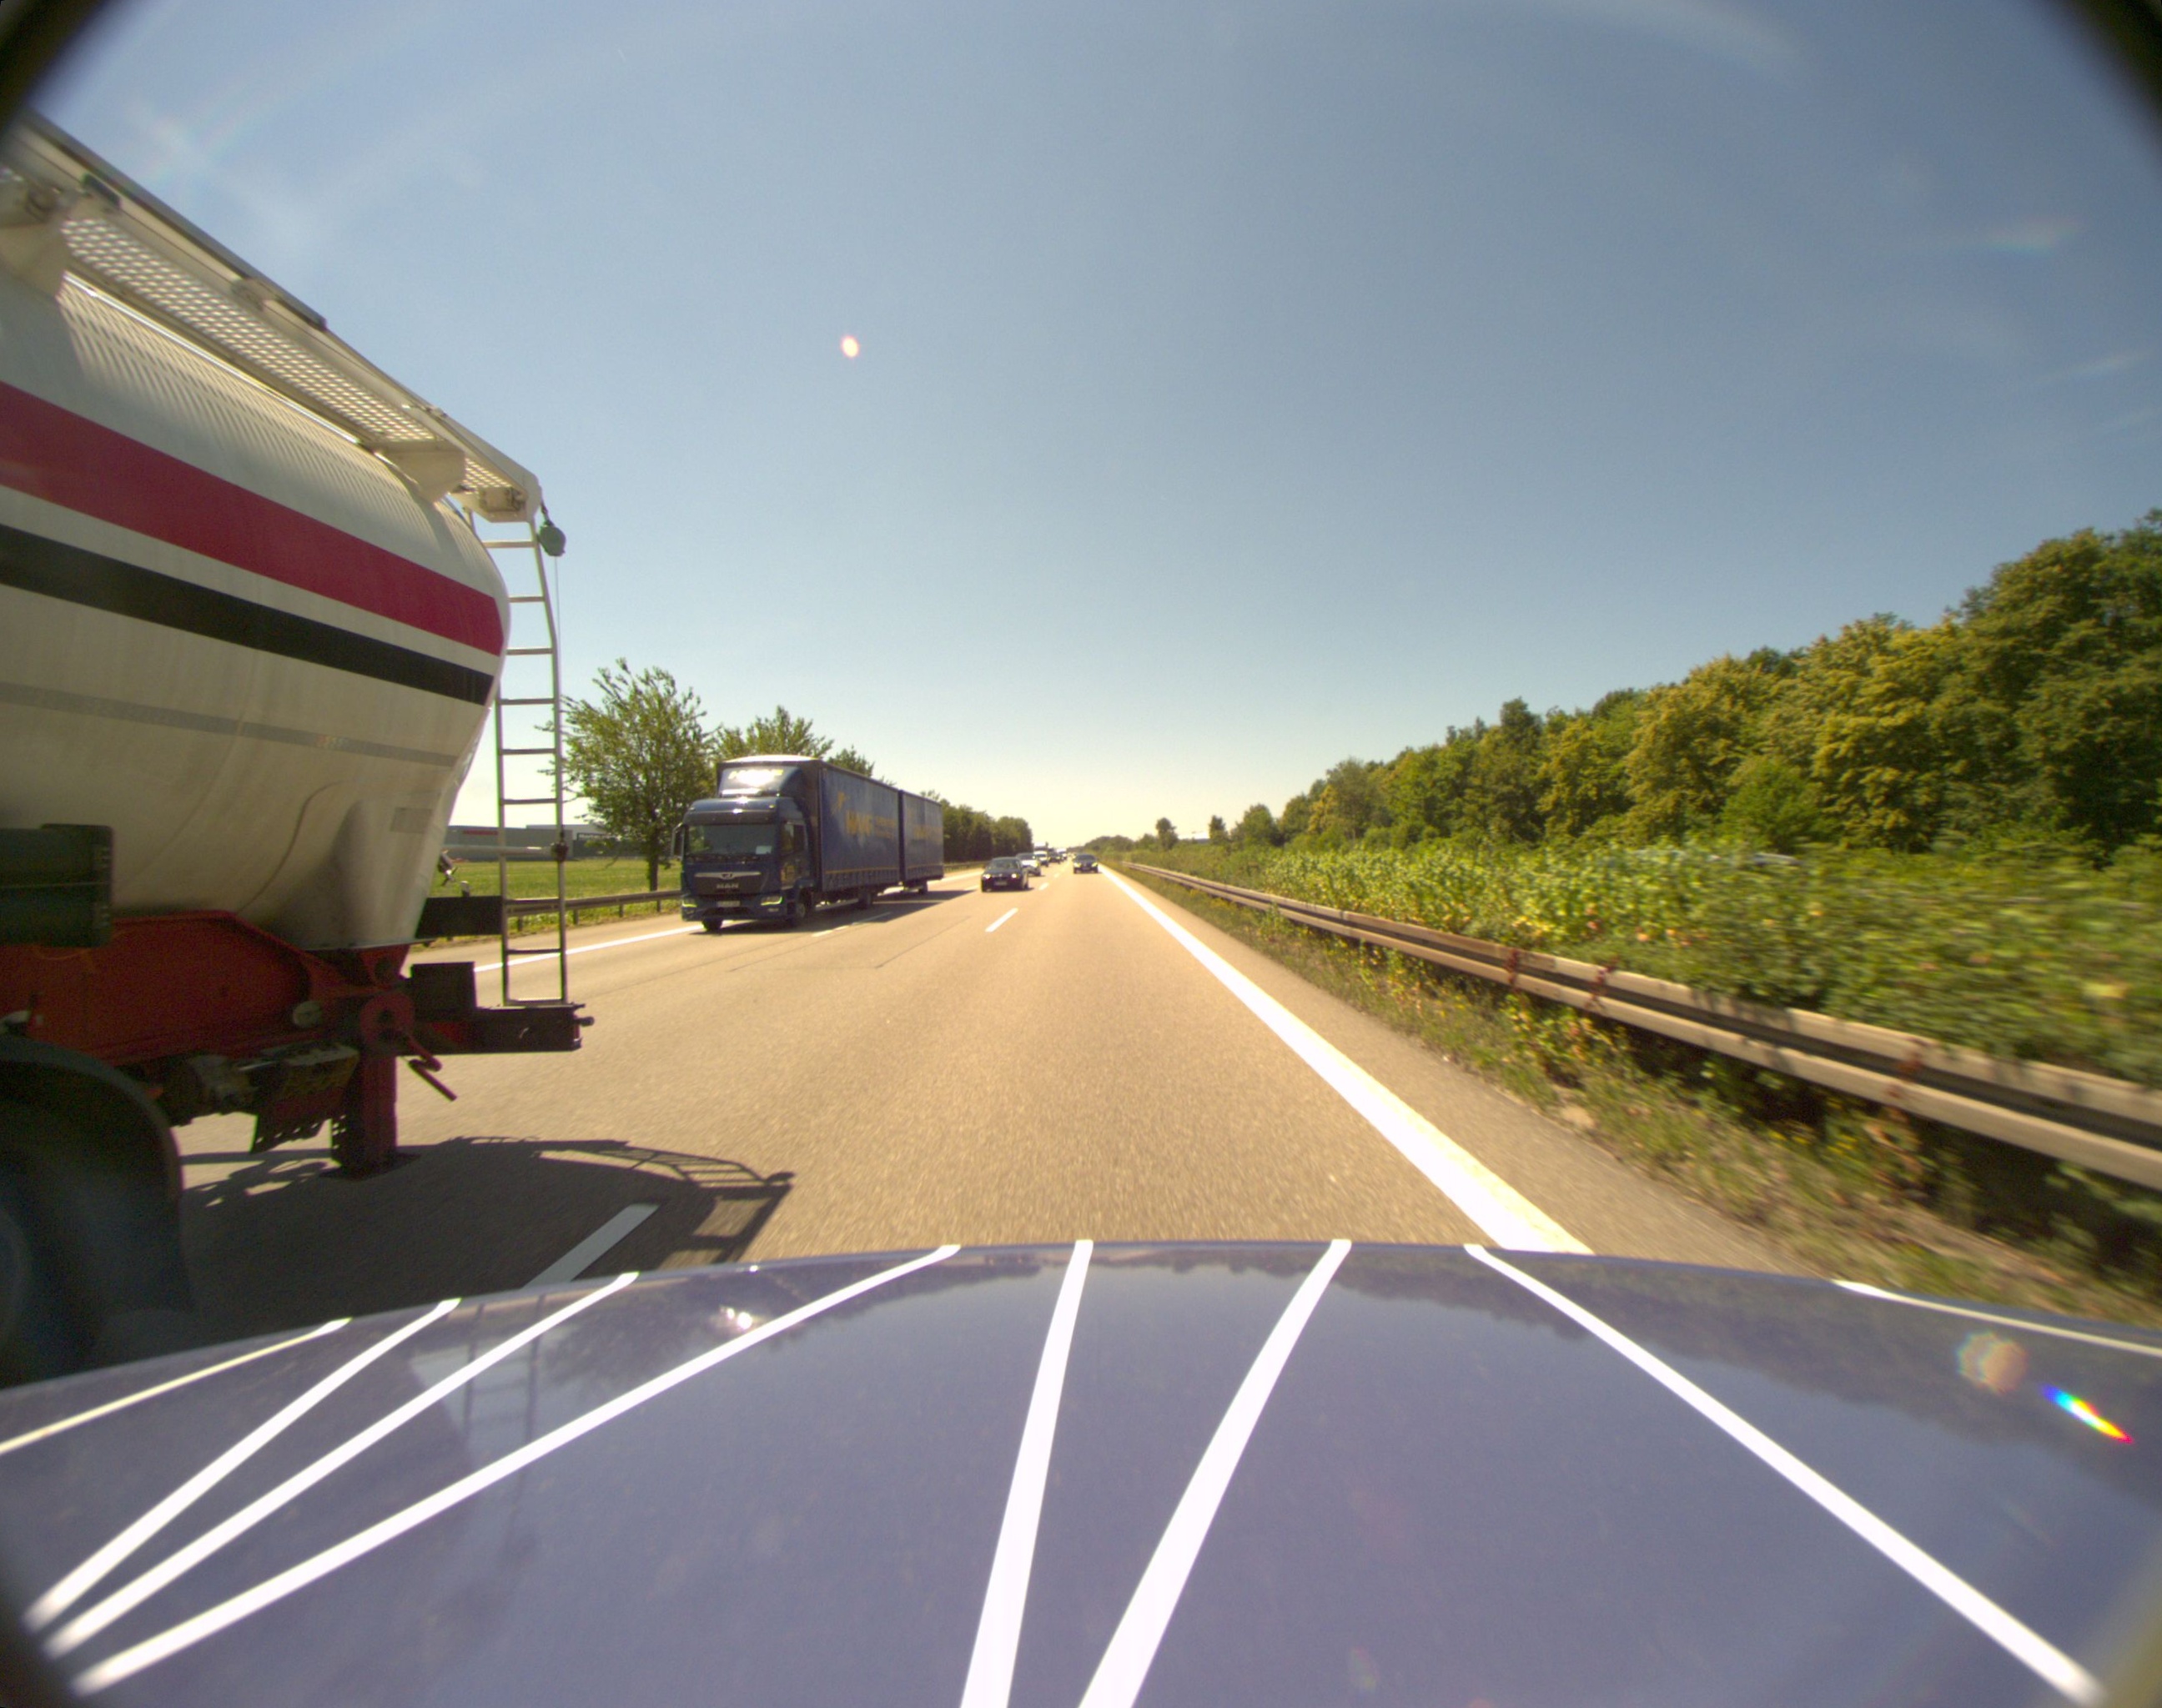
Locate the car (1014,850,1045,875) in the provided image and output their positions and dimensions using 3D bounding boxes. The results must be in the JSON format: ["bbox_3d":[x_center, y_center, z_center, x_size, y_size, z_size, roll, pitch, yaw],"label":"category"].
[{"bbox_3d":[-3.551,0.569,52.913,1.887,1.634,3.999,-1,0,0],"label":"car"}]

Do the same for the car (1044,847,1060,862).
[{"bbox_3d":[-4.110,0.057,108.959,1.998,2.002,4.000,0,1,1],"label":"car"}]

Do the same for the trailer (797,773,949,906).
[{"bbox_3d":[-7.570,-0.480,29.597,2.797,4.180,10.806,-1,0,0],"label":"trailer"}]

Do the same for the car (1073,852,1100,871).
[{"bbox_3d":[0.384,0.565,57.289,1.887,1.341,4.467,-1,0,0],"label":"car"}]

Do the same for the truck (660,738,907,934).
[{"bbox_3d":[-7.606,-0.416,21.721,2.797,4.180,10.805,-1,0,0],"label":"truck"}]

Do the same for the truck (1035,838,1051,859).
[{"bbox_3d":[-8.043,-1.162,162.956,2.797,4.180,10.805,-1,0,0],"label":"truck"}]

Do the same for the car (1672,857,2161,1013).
[{"bbox_3d":[8.808,0.682,8.305,1.627,1.250,4.000,0,0,1],"label":"car"}]

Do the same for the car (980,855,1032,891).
[{"bbox_3d":[-3.229,0.797,33.474,1.841,1.409,4.497,-1,0,0],"label":"car"}]

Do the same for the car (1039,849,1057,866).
[{"bbox_3d":[-3.808,0.394,87.944,1.887,1.861,4.467,-1,0,0],"label":"car"}]

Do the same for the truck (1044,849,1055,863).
[{"bbox_3d":[-9.357,0.475,228.549,2.797,4.180,10.805,-1,0,0],"label":"truck"}]

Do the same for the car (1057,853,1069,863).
[{"bbox_3d":[-3.063,0.635,129.430,1.887,1.557,4.466,-1,0,-3],"label":"car"}]
